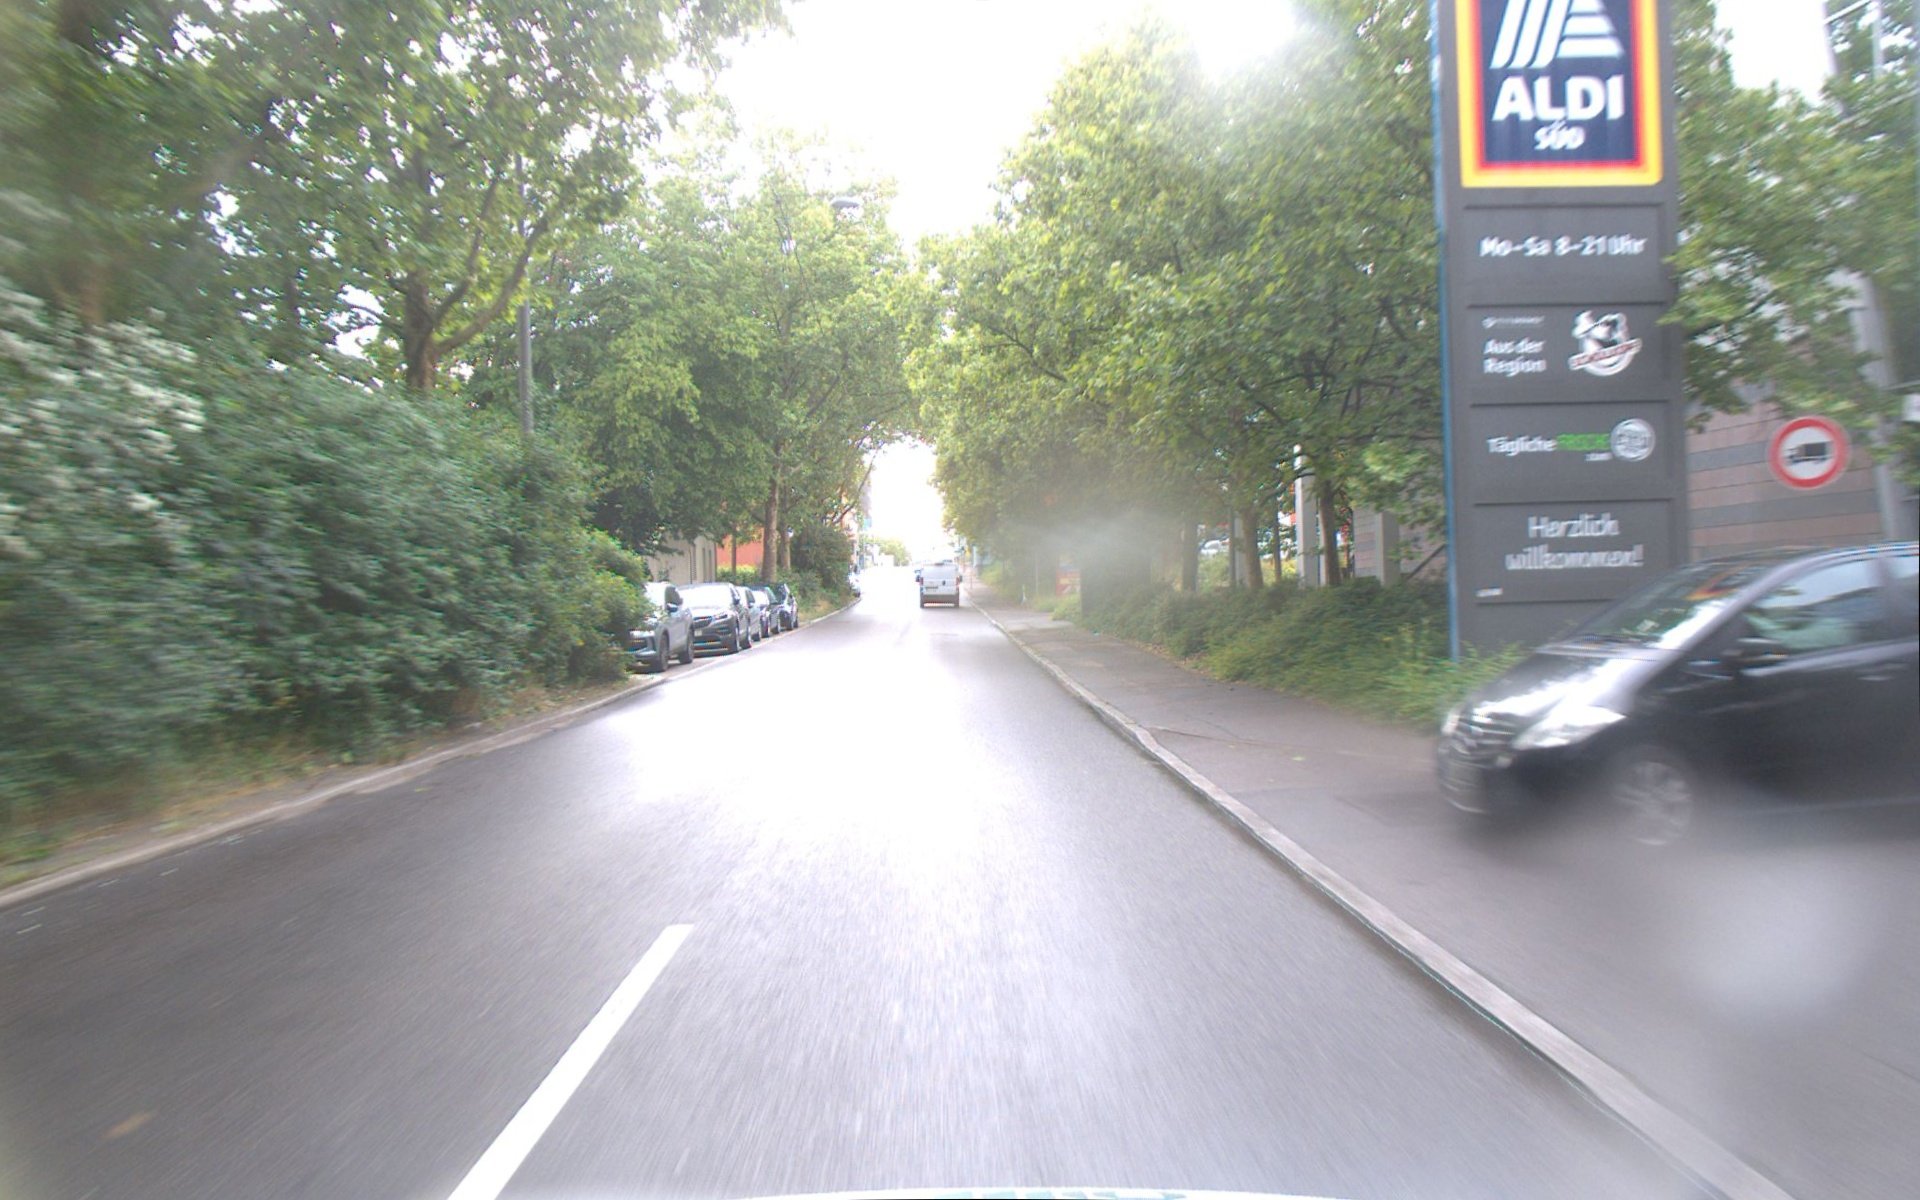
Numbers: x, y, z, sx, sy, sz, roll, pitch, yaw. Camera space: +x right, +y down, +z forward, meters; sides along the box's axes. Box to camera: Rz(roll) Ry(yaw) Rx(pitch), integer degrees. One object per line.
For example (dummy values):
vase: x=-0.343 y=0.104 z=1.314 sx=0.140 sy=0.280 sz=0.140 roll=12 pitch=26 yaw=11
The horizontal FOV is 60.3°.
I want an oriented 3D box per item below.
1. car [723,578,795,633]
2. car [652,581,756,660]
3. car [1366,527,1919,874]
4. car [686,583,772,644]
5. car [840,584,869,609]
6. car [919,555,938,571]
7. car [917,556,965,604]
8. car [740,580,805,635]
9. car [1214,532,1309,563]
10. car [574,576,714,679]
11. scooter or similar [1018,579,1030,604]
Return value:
car: x=-5.859 y=0.126 z=48.504 sx=1.638 sy=1.534 sz=3.874 roll=1 pitch=1 yaw=0
car: x=-5.840 y=0.421 z=38.170 sx=1.827 sy=1.618 sz=4.237 roll=-4 pitch=1 yaw=-2
car: x=4.539 y=0.444 z=9.454 sx=3.776 sy=1.574 sz=2.023 roll=-4 pitch=0 yaw=-7
car: x=-6.035 y=0.326 z=43.559 sx=1.637 sy=1.534 sz=4.124 roll=0 pitch=1 yaw=1
car: x=-6.928 y=-0.253 z=108.923 sx=1.656 sy=1.569 sz=4.117 roll=-2 pitch=0 yaw=-1
car: x=-4.003 y=-4.671 z=208.547 sx=2.114 sy=1.739 sz=3.874 roll=1 pitch=-1 yaw=3
car: x=-0.937 y=-0.998 z=84.024 sx=2.288 sy=2.270 sz=3.999 roll=-2 pitch=0 yaw=0
car: x=-6.098 y=0.216 z=54.077 sx=1.615 sy=1.564 sz=4.017 roll=-5 pitch=1 yaw=-1
car: x=13.876 y=-2.417 z=76.308 sx=4.017 sy=1.400 sz=1.903 roll=0 pitch=0 yaw=-1
car: x=-6.067 y=0.465 z=32.293 sx=1.699 sy=1.686 sz=4.564 roll=-5 pitch=1 yaw=0
scooter or similar: x=3.077 y=-0.383 z=79.329 sx=0.417 sy=1.162 sz=1.528 roll=1 pitch=-1 yaw=-3
